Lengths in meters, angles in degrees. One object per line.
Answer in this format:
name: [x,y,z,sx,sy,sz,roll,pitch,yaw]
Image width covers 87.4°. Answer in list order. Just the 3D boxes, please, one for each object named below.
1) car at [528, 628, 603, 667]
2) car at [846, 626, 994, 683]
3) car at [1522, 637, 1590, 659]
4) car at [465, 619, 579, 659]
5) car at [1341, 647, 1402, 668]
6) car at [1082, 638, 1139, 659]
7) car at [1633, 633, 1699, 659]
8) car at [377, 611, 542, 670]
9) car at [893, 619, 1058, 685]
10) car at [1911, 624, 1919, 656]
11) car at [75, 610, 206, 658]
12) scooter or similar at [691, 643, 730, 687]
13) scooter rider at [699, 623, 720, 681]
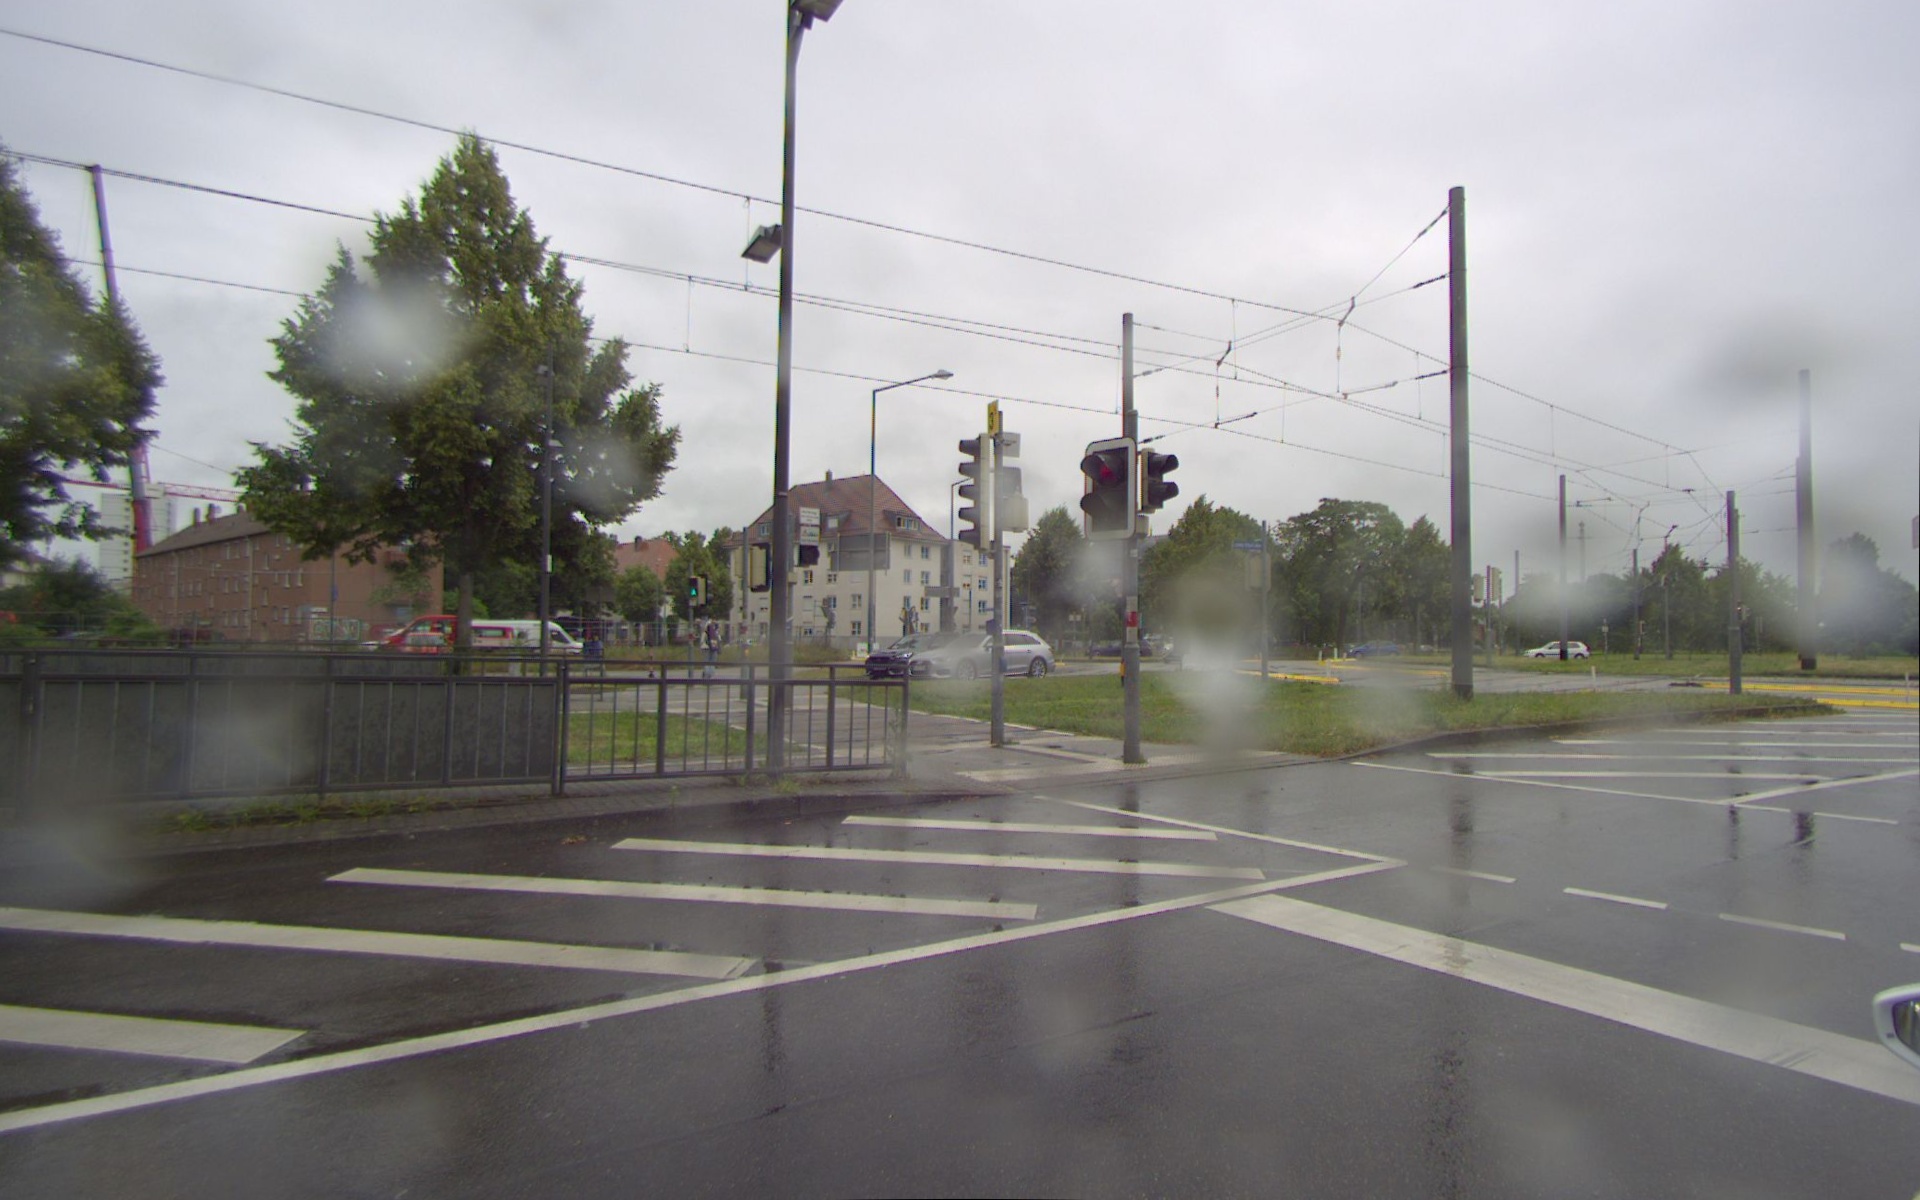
car: [-42.650,5.074,108.367,10.793,3.770,2.447,0,-2,39]
car: [-1.174,1.653,31.199,4.371,1.649,1.975,2,-2,-42]
car: [41.886,3.371,70.655,3.910,1.473,1.623,0,-2,21]
car: [-25.913,2.335,59.623,6.004,2.308,1.617,1,-2,-18]
car: [30.350,4.252,74.158,3.907,1.473,1.624,0,-2,4]
car: [10.742,3.465,71.989,3.907,1.473,1.624,0,-2,4]
car: [54.805,3.543,77.983,3.921,1.840,1.681,2,0,-1]
car: [-22.228,1.805,44.942,6.389,2.502,1.616,1,-2,-20]
car: [0.488,1.372,27.421,4.371,1.649,1.975,2,-2,-42]
car: [58.781,2.346,58.401,1.976,1.875,4.740,1,-2,-29]
car: [-45.322,1.882,55.751,5.441,2.485,1.980,3,0,-36]
scooter or similar: [-7.550,1.949,30.354,0.444,1.276,1.571,1,-3,-42]
scooter rider: [-7.559,1.587,30.347,0.431,1.731,0.526,2,-4,-43]
